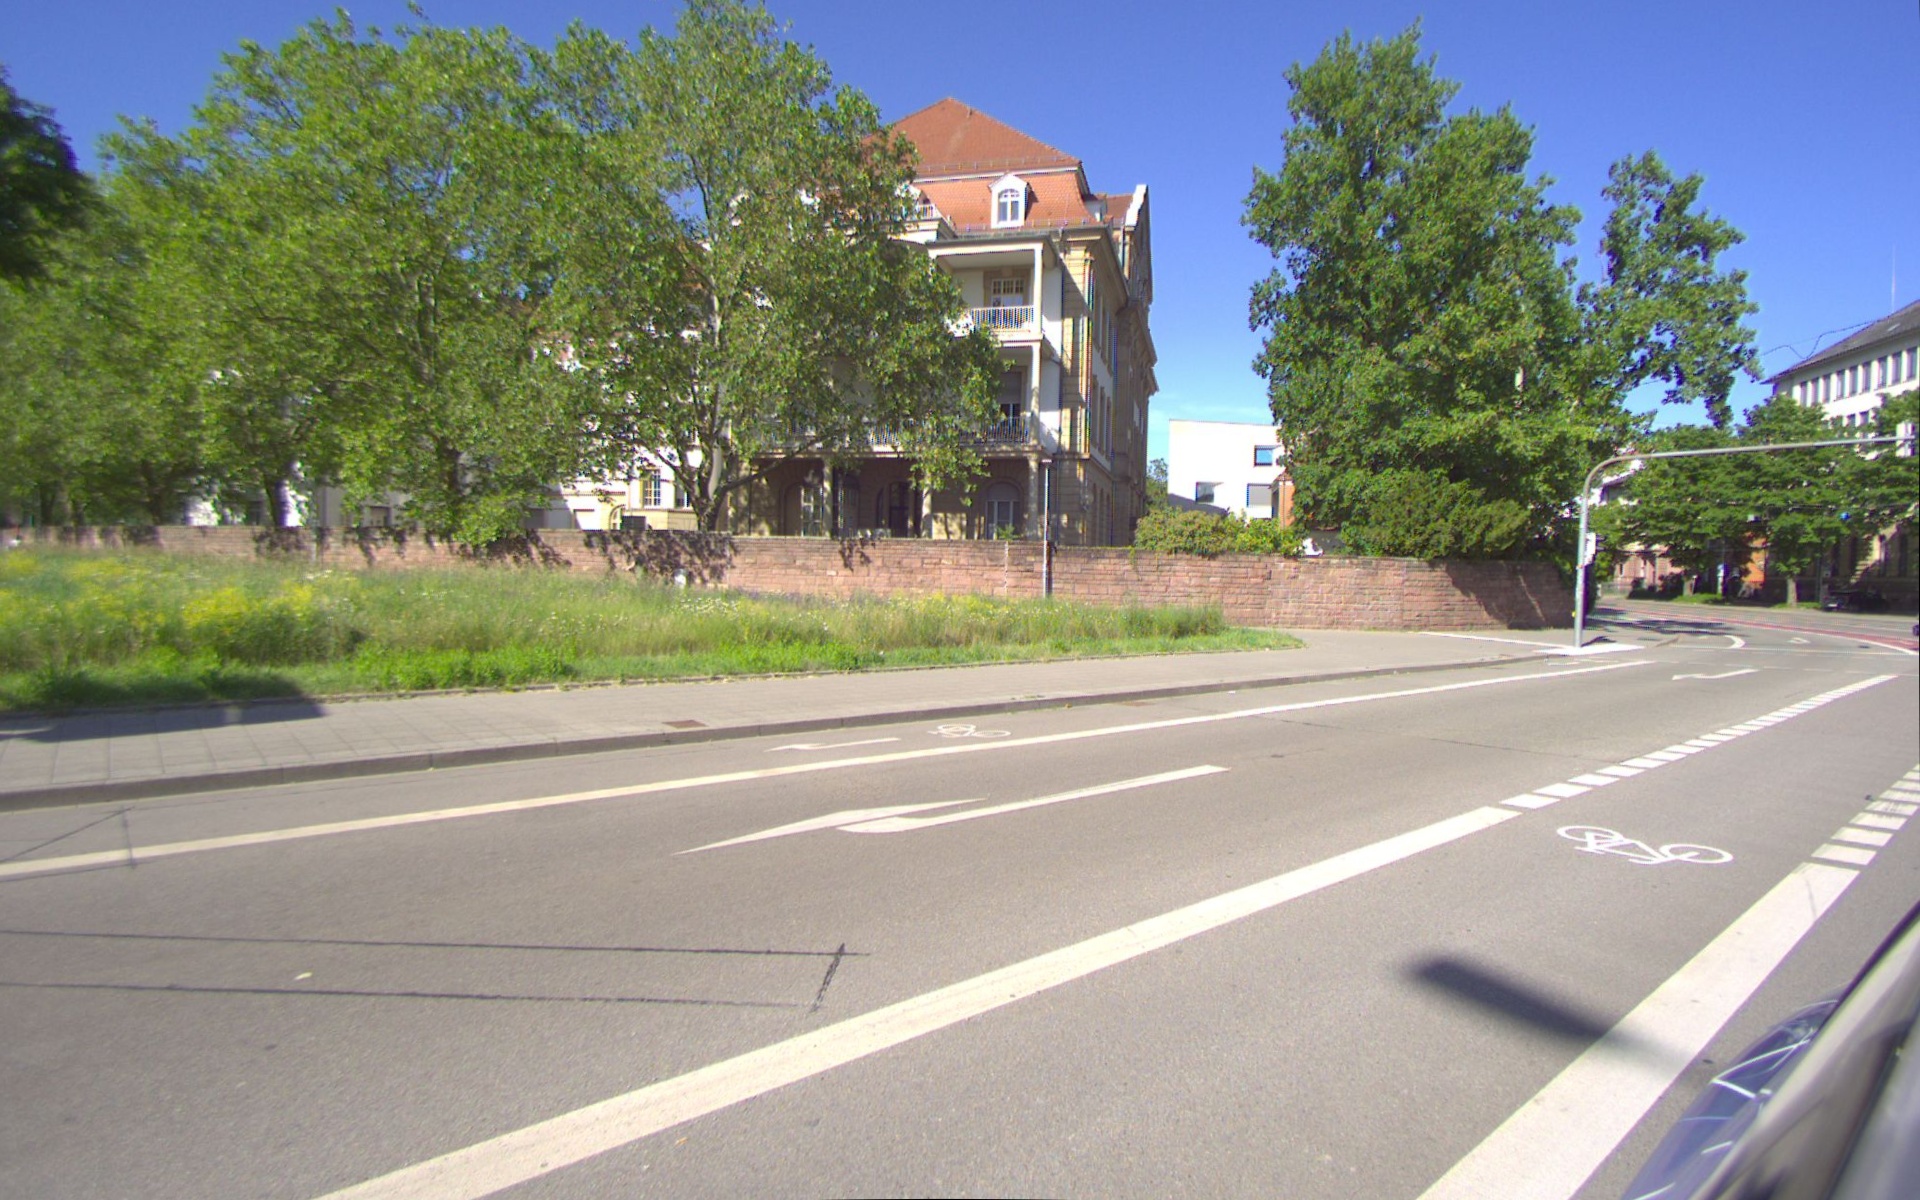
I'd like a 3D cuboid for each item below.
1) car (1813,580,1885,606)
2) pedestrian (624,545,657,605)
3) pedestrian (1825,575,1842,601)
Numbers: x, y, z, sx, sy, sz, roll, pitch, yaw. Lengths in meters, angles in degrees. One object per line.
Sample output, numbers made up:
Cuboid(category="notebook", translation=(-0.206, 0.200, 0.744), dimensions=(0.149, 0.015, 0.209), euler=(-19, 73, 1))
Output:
Cuboid(category="car", translation=(60.446, -0.507, 68.890), dimensions=(1.806, 1.615, 3.988), euler=(2, 2, 11))
Cuboid(category="pedestrian", translation=(-10.145, -0.789, 32.172), dimensions=(0.777, 1.881, 0.627), euler=(2, 1, 20))
Cuboid(category="pedestrian", translation=(64.638, -0.908, 74.869), dimensions=(0.568, 1.927, 0.781), euler=(1, 1, 12))
